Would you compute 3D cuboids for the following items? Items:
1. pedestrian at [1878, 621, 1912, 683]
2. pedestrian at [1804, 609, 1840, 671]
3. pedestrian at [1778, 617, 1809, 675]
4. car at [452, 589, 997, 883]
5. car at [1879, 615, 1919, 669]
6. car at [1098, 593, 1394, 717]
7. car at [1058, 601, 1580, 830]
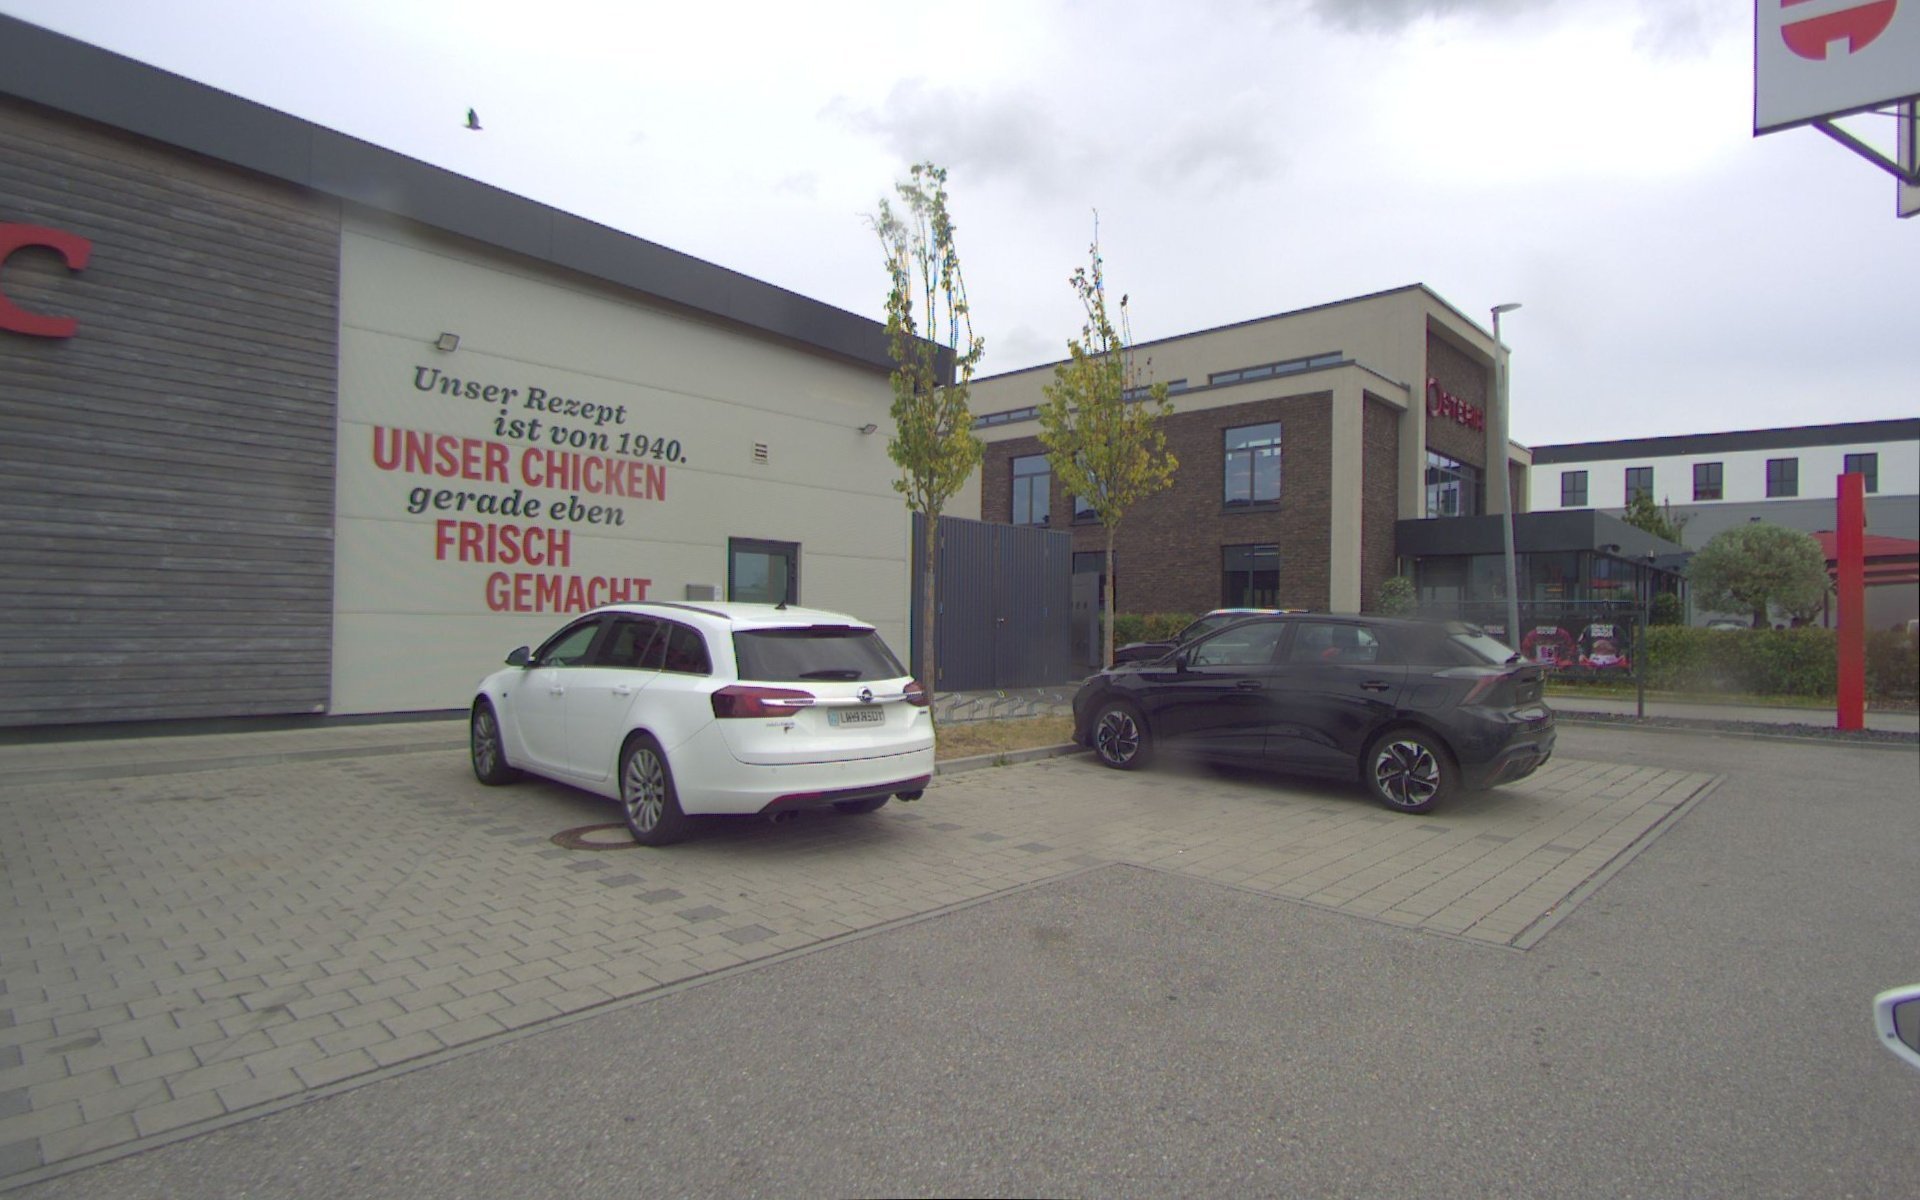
[{"bbox_3d":[18.519,1.029,19.900,0.453,1.215,0.416,1,-3,-41],"label":"pedestrian"},{"bbox_3d":[24.889,1.163,29.017,0.732,1.771,0.700,-2,-3,41],"label":"pedestrian"},{"bbox_3d":[17.728,0.967,21.360,0.453,1.215,0.416,1,-3,-41],"label":"pedestrian"},{"bbox_3d":[-1.917,0.747,7.330,1.988,1.505,4.124,3,-3,-45],"label":"car"},{"bbox_3d":[31.345,1.340,32.511,1.969,1.672,4.559,-2,-3,38],"label":"car"},{"bbox_3d":[4.190,0.806,15.109,3.946,1.617,1.726,-3,-3,45],"label":"car"},{"bbox_3d":[3.019,0.827,9.028,4.067,1.548,1.731,1,-1,45],"label":"car"}]
